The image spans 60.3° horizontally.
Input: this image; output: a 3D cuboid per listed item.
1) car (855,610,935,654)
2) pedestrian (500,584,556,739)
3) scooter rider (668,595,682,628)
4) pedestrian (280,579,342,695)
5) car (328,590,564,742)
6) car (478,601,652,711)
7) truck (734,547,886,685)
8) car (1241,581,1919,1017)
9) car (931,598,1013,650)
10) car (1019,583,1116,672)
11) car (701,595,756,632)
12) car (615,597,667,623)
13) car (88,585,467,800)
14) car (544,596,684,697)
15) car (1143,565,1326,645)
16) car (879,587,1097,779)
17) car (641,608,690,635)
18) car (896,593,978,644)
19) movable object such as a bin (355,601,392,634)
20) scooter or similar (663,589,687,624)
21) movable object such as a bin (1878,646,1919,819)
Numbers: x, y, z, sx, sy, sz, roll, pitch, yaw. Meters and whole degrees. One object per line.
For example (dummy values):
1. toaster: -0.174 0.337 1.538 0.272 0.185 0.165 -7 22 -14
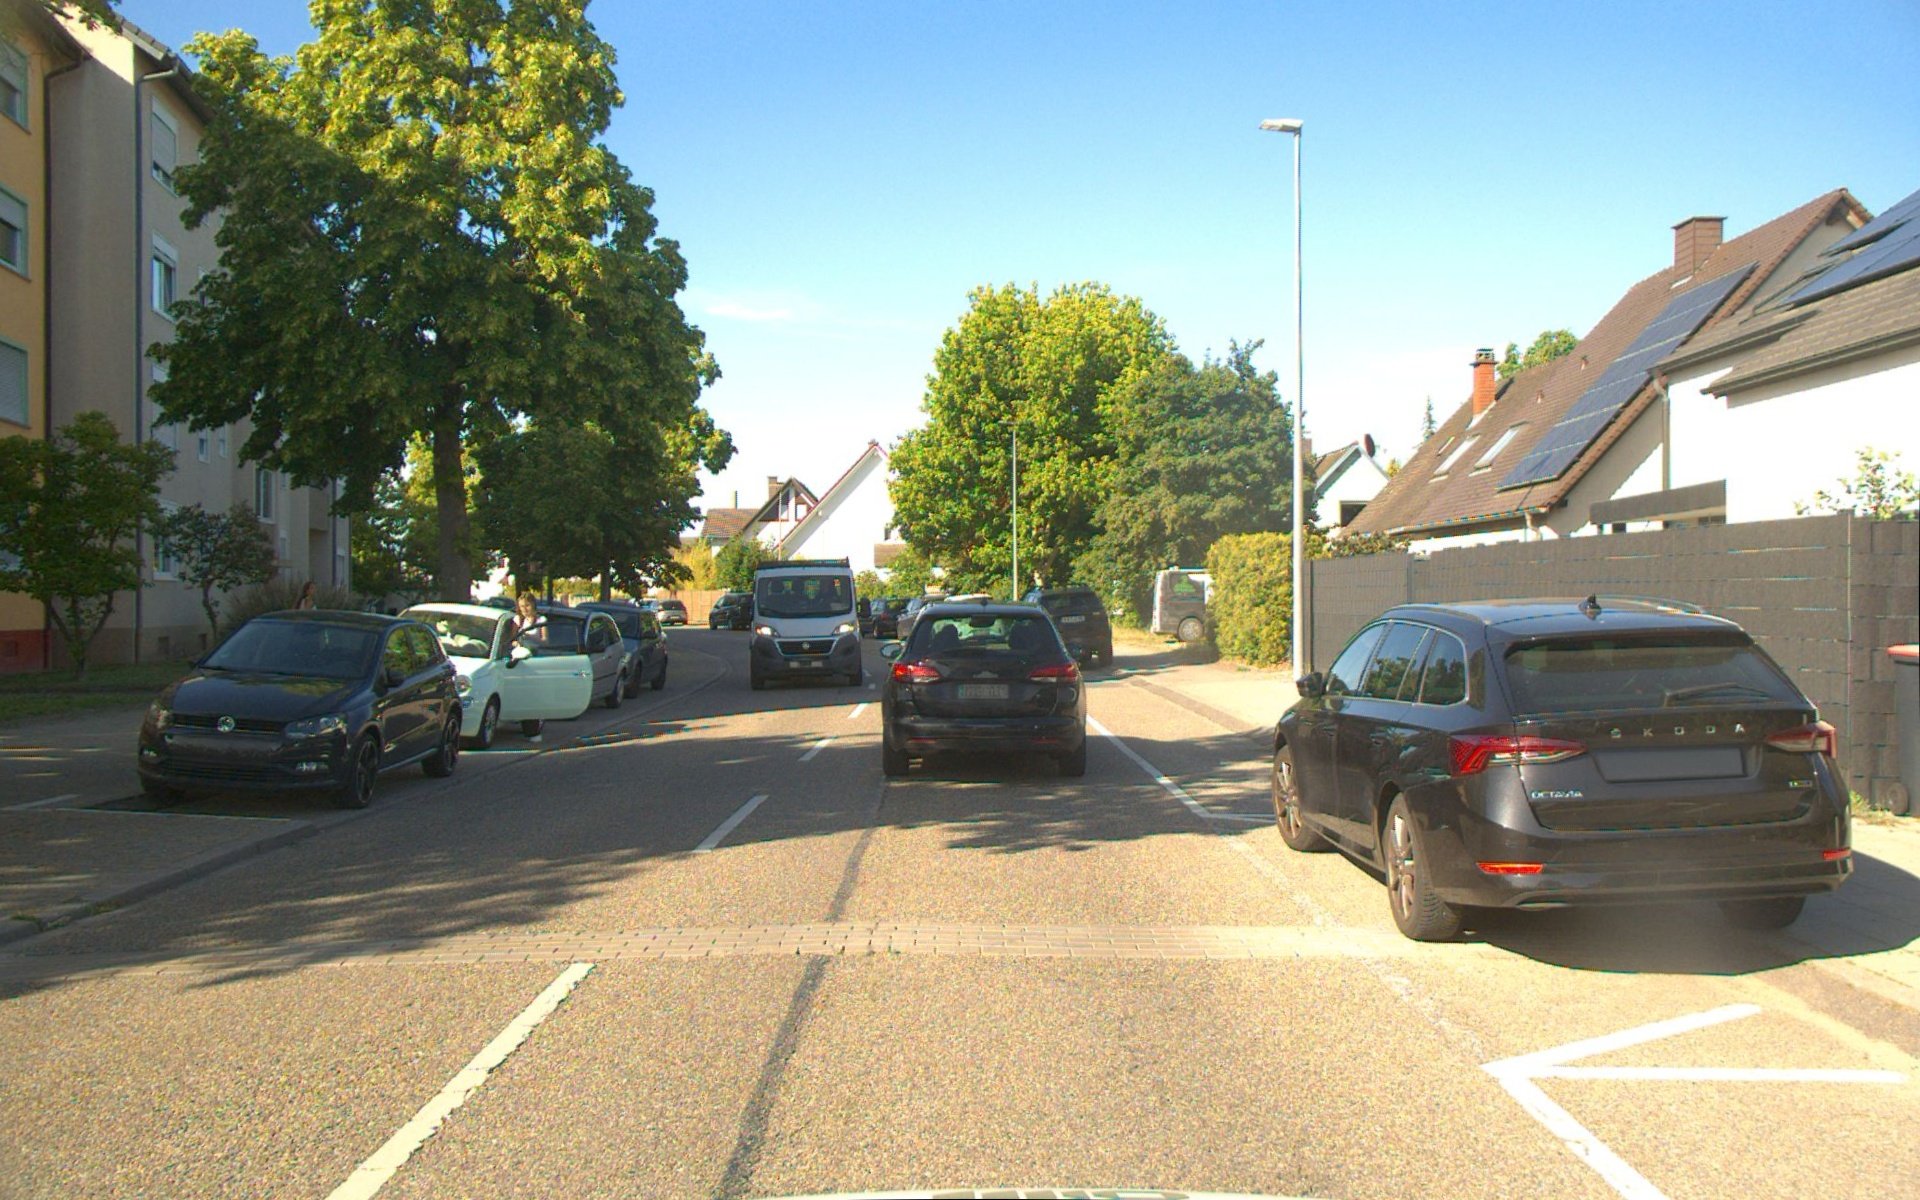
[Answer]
1. car: -2.434 1.174 60.823 1.974 1.501 4.274 -1 -1 -16
2. pedestrian: -5.092 0.725 19.533 0.494 1.792 0.694 -1 -2 -4
3. scooter rider: -17.575 0.716 101.986 0.677 2.049 0.813 0 -2 -26
4. pedestrian: -10.046 0.580 25.628 0.671 1.748 0.720 -1 -2 -1
5. car: -5.943 0.755 19.605 1.667 1.550 4.049 -2 -2 -3
6. car: -5.893 0.793 25.092 1.623 1.536 4.000 0 0 1
7. truck: -2.789 0.288 32.400 2.085 2.375 6.444 -2 0 2
8. car: 2.747 0.697 8.443 1.729 1.506 4.991 -2 0 0
9. car: 0.320 0.731 51.419 1.729 1.506 4.282 -1 -1 -11
10. car: 2.251 0.583 35.635 1.741 1.754 4.293 -1 -1 0
11. car: -11.219 0.649 79.947 1.874 1.695 4.168 -1 -1 -19
12. car: -18.947 0.623 98.176 1.894 1.432 4.255 -1 -1 -28
13. car: -5.440 0.716 13.773 1.667 1.506 4.048 1 -2 -4
14. car: -6.004 0.764 29.123 1.535 1.556 3.918 3 0 0
15. car: 7.460 0.150 45.305 4.585 2.018 2.142 -1 -1 -1
16. car: 0.196 0.680 15.238 1.726 1.517 4.290 0 -1 -1
17. car: -16.436 1.201 92.250 1.889 1.432 4.266 -1 -1 -21
18. car: -0.827 0.634 55.914 1.879 1.628 4.279 -1 -1 -13
19. movable object such as a bin: -26.272 0.790 74.141 1.493 1.452 1.083 -1 -2 -17
20. scooter or similar: -17.573 0.419 101.994 0.677 2.049 2.938 0 -2 -25
21. movable object such as a bin: 6.198 0.812 10.263 0.582 1.058 0.704 -1 -2 1
